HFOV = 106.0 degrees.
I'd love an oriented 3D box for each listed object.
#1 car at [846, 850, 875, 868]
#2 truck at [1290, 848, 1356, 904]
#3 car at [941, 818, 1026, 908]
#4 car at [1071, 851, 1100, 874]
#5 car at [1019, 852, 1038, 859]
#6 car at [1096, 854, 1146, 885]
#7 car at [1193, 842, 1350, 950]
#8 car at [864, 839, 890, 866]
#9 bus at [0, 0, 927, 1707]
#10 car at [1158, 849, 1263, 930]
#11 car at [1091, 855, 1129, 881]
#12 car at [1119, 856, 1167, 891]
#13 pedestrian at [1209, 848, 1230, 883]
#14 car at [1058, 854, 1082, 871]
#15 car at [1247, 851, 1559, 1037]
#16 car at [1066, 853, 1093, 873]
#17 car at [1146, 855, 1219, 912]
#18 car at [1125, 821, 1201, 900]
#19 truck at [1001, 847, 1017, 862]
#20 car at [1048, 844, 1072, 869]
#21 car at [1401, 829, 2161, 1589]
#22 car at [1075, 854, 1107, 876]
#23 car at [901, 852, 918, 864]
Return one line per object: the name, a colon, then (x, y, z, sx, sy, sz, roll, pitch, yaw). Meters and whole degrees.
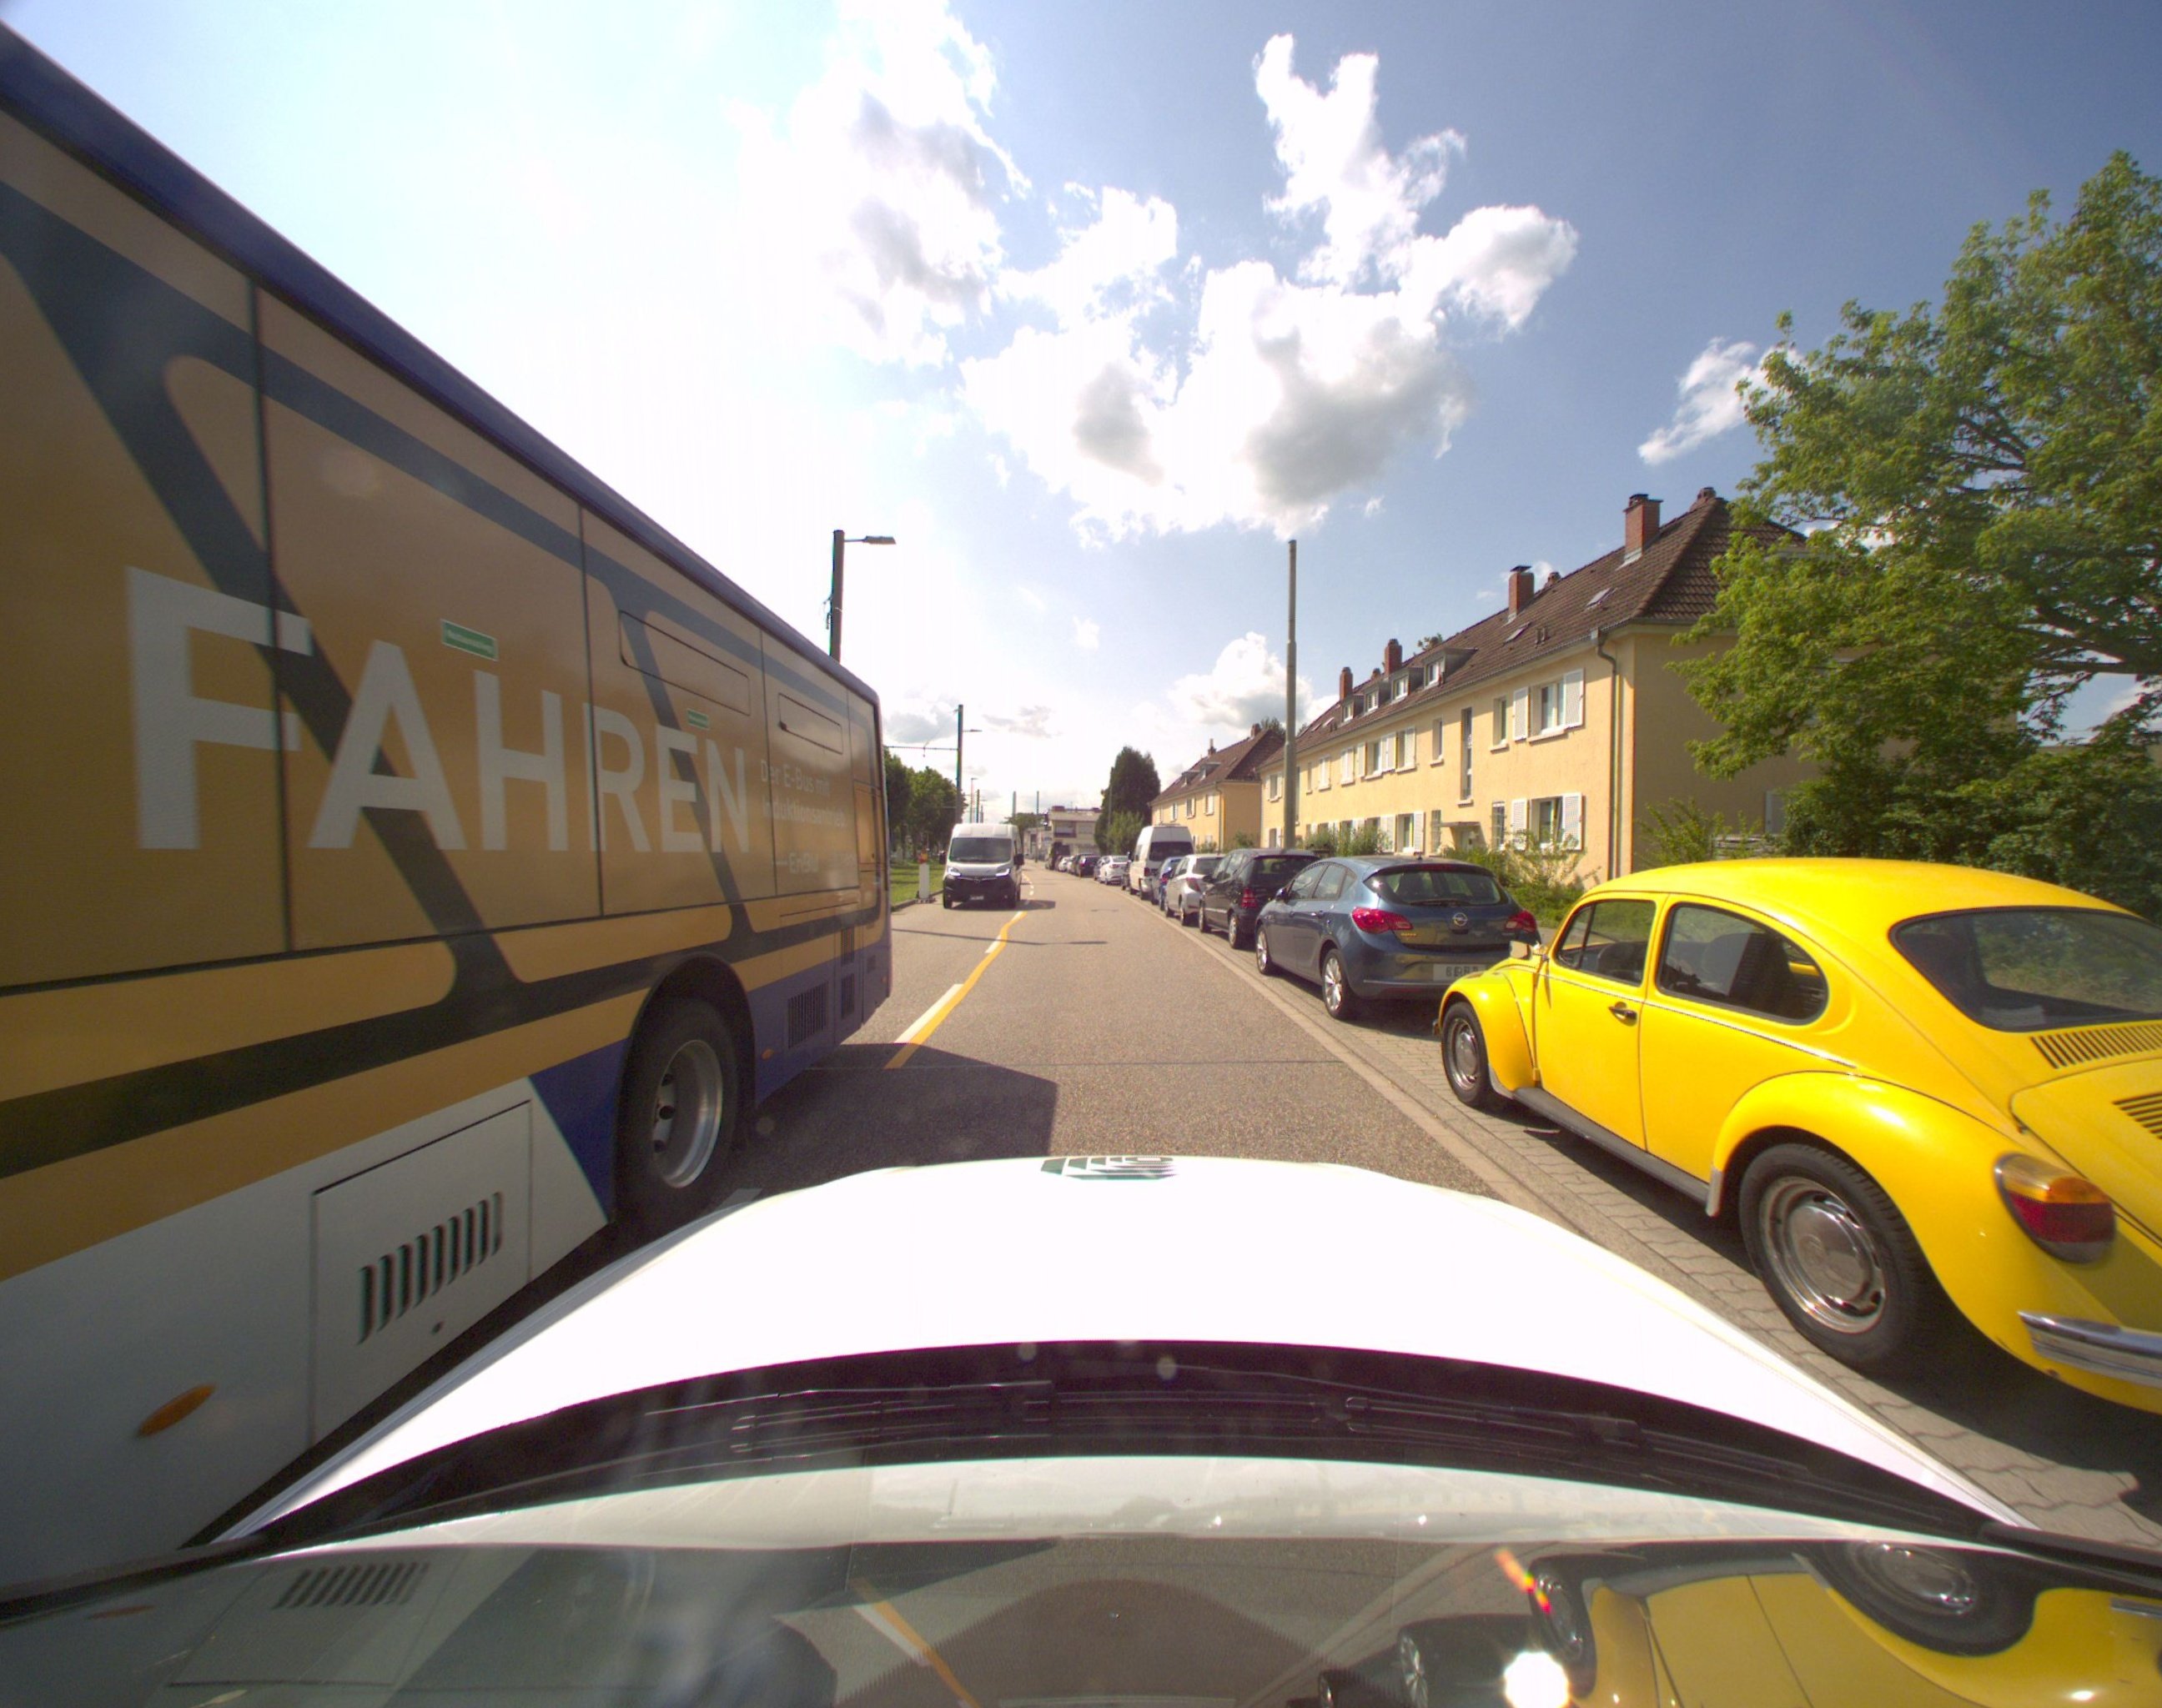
car: (-19.796, 0.426, 73.340, 1.725, 1.505, 4.560, -1, 0, -5)
truck: (7.702, 0.676, 26.078, 1.342, 1.688, 2.439, 1, -1, -2)
car: (-2.855, 0.251, 25.077, 2.097, 2.443, 5.566, 1, 0, -2)
car: (0.294, 0.620, 60.599, 1.761, 1.643, 3.992, -1, 0, -6)
car: (-13.796, 0.354, 212.736, 4.644, 1.823, 1.829, 1, 0, -11)
car: (1.934, 0.756, 41.122, 1.796, 1.458, 4.754, -1, -1, -6)
car: (3.150, 0.639, 14.250, 1.632, 1.602, 3.927, 1, 0, -3)
car: (-21.107, -0.158, 84.473, 2.074, 2.721, 6.979, -1, 0, -10)
bus: (-2.820, -0.209, 1.479, 2.627, 3.412, 12.248, -1, 0, 0)
car: (2.804, 0.708, 18.427, 1.631, 1.602, 4.027, 1, 0, -1)
car: (1.618, 0.758, 46.655, 1.618, 1.417, 3.992, -1, 0, -6)
car: (2.489, 0.764, 33.303, 1.339, 1.340, 3.280, 1, -1, -6)
pedestrian: (6.697, 0.565, 39.396, 0.851, 1.652, 0.636, 1, 0, -1)
car: (-0.962, 0.742, 71.650, 1.761, 1.439, 3.992, -1, 0, -6)
car: (3.040, 0.728, 8.678, 1.631, 1.482, 4.122, 1, 0, -1)
car: (-0.173, 0.691, 65.482, 1.761, 1.477, 3.992, -1, 0, -6)
car: (2.795, 0.760, 23.060, 1.532, 1.445, 3.735, 1, 0, -1)
car: (2.738, 0.209, 28.427, 1.924, 2.481, 5.512, 0, 0, -2)
truck: (-16.990, 0.054, 192.276, 3.219, 3.402, 11.323, 1, -1, -8)
car: (-2.193, 0.233, 82.841, 1.957, 2.478, 6.046, -1, 0, -7)
car: (2.975, 0.671, 3.570, 1.630, 1.482, 3.932, -2, 1, 1)
car: (0.657, 0.747, 55.482, 1.761, 1.417, 3.992, -1, 0, -6)
car: (-22.948, 0.558, 109.105, 1.876, 1.553, 4.388, 1, -1, -6)
